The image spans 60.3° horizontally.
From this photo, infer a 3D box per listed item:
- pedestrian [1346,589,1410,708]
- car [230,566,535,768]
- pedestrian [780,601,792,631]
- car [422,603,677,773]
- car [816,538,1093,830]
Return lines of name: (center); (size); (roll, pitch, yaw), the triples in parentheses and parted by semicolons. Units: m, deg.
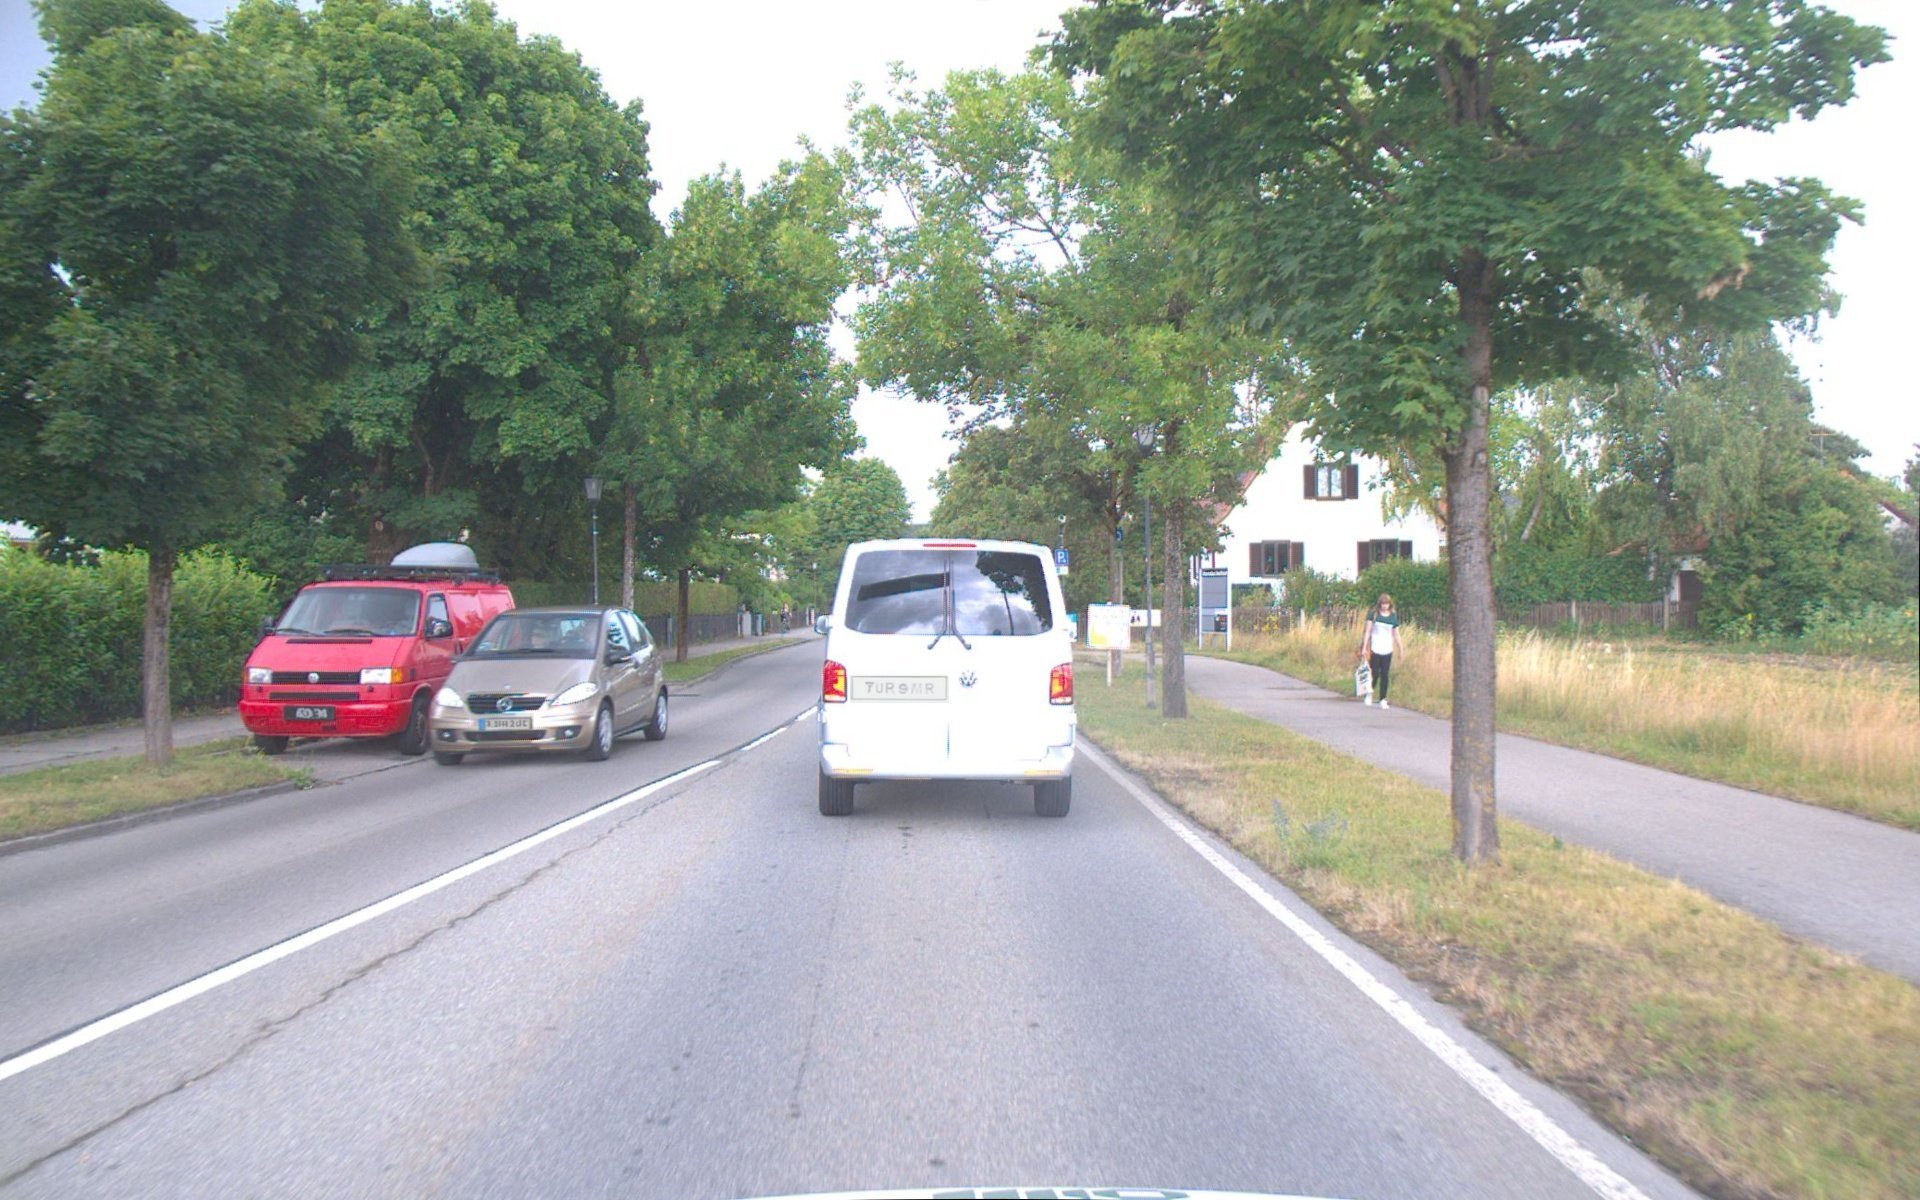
pedestrian: (6.396, 0.726, 25.333); (0.820, 1.785, 0.870); (0, 0, 4)
car: (-6.640, 0.680, 19.683); (1.792, 2.066, 5.046); (1, 0, 0)
pedestrian: (-9.309, 0.843, 88.585); (0.610, 1.576, 0.522); (1, -1, -4)
car: (-4.301, 0.865, 17.870); (1.671, 1.559, 3.509); (-2, 0, 3)
car: (-0.063, 0.571, 13.058); (1.849, 1.945, 3.999); (0, 0, -1)
